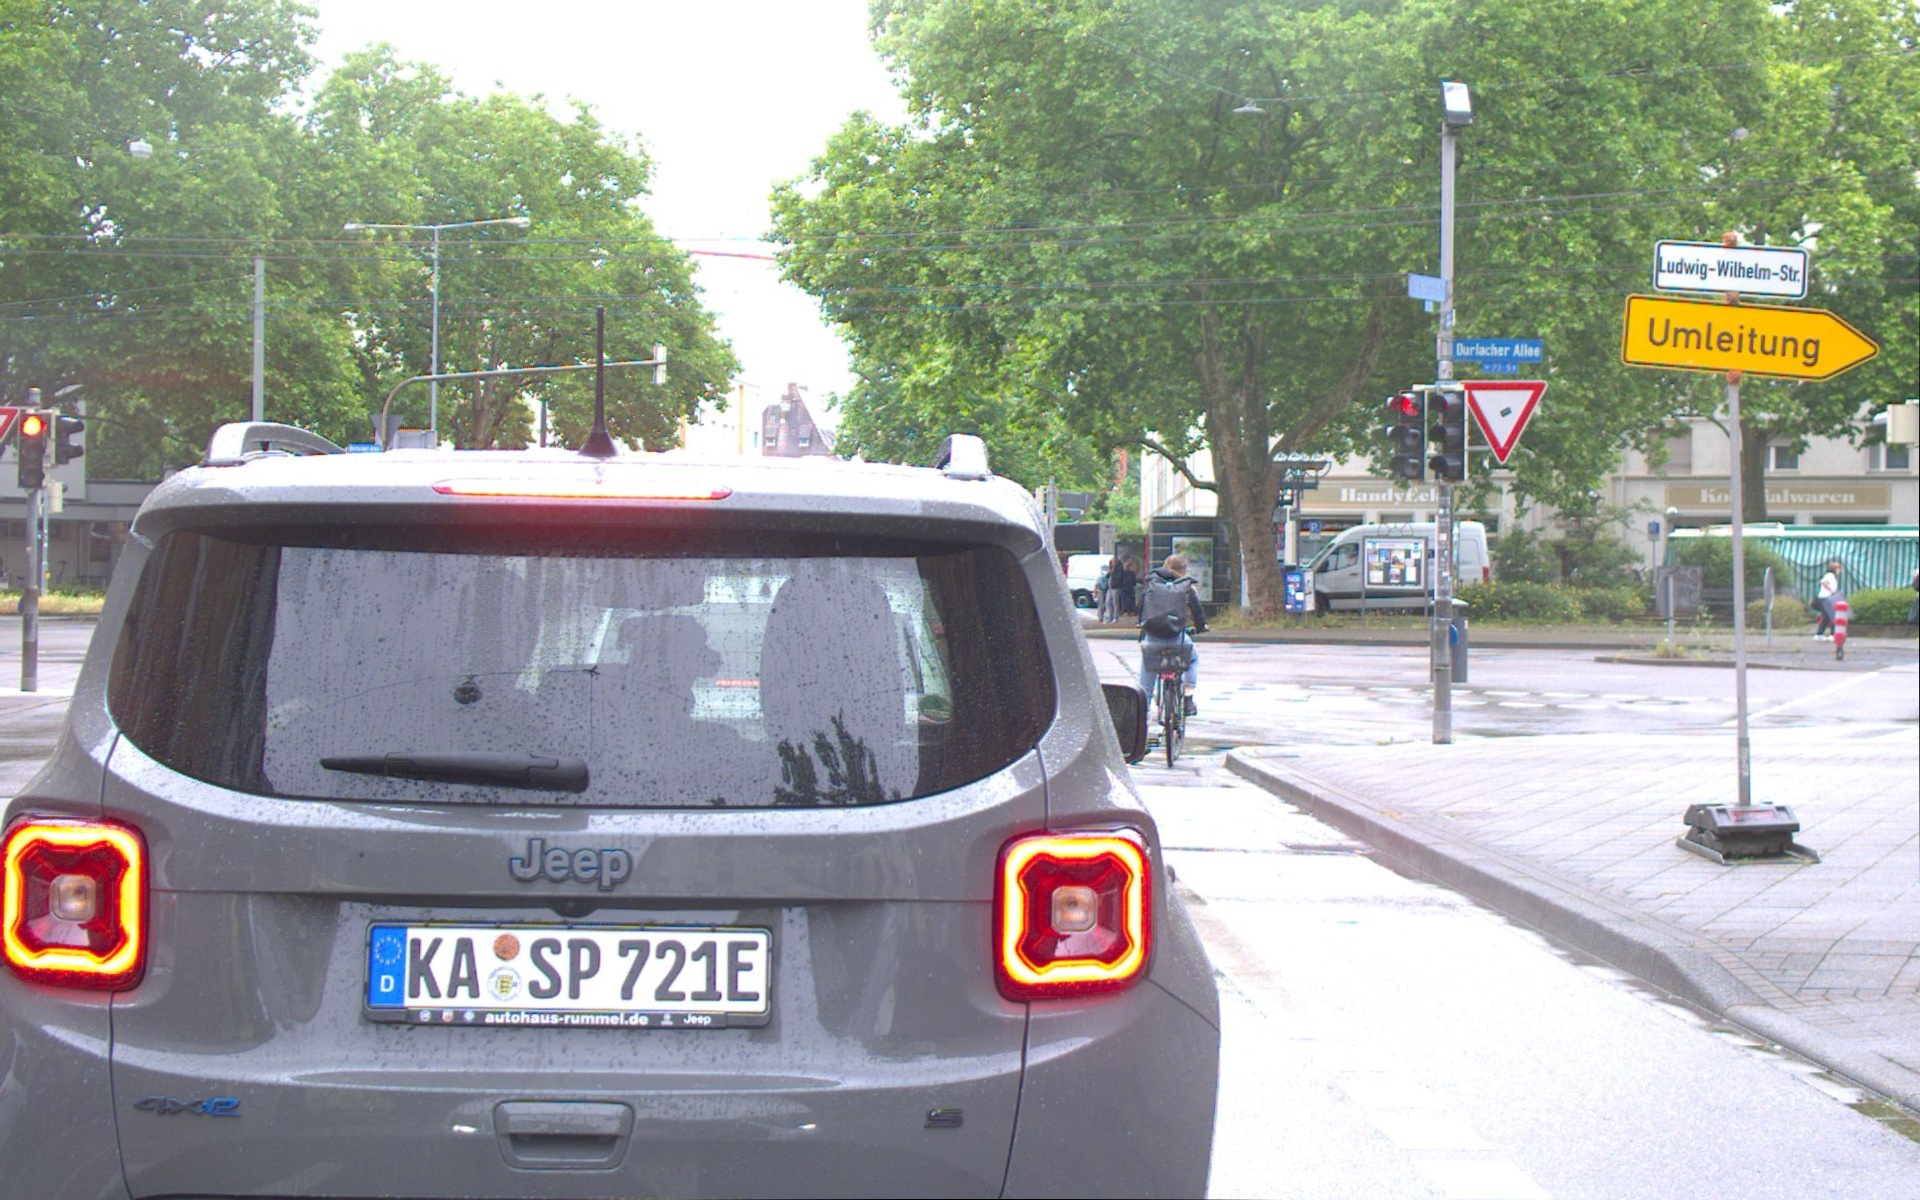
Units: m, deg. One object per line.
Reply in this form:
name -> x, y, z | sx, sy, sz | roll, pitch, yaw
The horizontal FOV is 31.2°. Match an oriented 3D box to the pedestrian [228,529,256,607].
pedestrian -> -16.719, -0.743, 80.082 | 0.618, 1.820, 0.694 | 0, 1, -10

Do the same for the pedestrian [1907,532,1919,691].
pedestrian -> 10.944, 0.121, 38.220 | 0.786, 1.753, 0.945 | 0, 1, 14

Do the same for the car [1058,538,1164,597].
car -> 5.258, -1.125, 119.383 | 3.438, 2.007, 1.547 | 0, 0, 13

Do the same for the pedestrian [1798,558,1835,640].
pedestrian -> 16.635, -0.023, 66.756 | 0.613, 1.598, 0.493 | 0, 1, 24

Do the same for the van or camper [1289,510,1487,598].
van or camper -> 11.767, -1.269, 94.811 | 5.260, 2.307, 2.090 | 1, 1, 3

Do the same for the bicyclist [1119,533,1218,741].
bicyclist -> 1.645, 0.283, 27.230 | 0.687, 1.612, 0.884 | -1, 1, -2

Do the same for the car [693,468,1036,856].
car -> -0.534, 0.290, 19.859 | 1.770, 2.007, 4.000 | 0, 1, -1

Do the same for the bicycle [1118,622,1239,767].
bicycle -> 1.699, 0.715, 27.081 | 0.691, 1.018, 2.658 | -1, 1, -2

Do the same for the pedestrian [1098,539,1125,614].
pedestrian -> 4.073, -0.637, 92.541 | 0.651, 2.007, 0.482 | 1, 1, 12

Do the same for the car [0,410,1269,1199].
car -> -0.563, 0.581, 6.173 | 1.775, 1.681, 3.848 | -1, 1, -2

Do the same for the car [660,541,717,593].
car -> -8.953, -1.107, 113.274 | 1.813, 1.665, 3.921 | 0, 1, -5

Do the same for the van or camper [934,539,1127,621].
van or camper -> 2.559, -0.745, 124.762 | 6.535, 2.902, 2.491 | 1, 1, 24

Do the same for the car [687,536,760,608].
car -> -5.843, -0.699, 84.712 | 1.721, 1.733, 3.730 | 0, 1, -5
